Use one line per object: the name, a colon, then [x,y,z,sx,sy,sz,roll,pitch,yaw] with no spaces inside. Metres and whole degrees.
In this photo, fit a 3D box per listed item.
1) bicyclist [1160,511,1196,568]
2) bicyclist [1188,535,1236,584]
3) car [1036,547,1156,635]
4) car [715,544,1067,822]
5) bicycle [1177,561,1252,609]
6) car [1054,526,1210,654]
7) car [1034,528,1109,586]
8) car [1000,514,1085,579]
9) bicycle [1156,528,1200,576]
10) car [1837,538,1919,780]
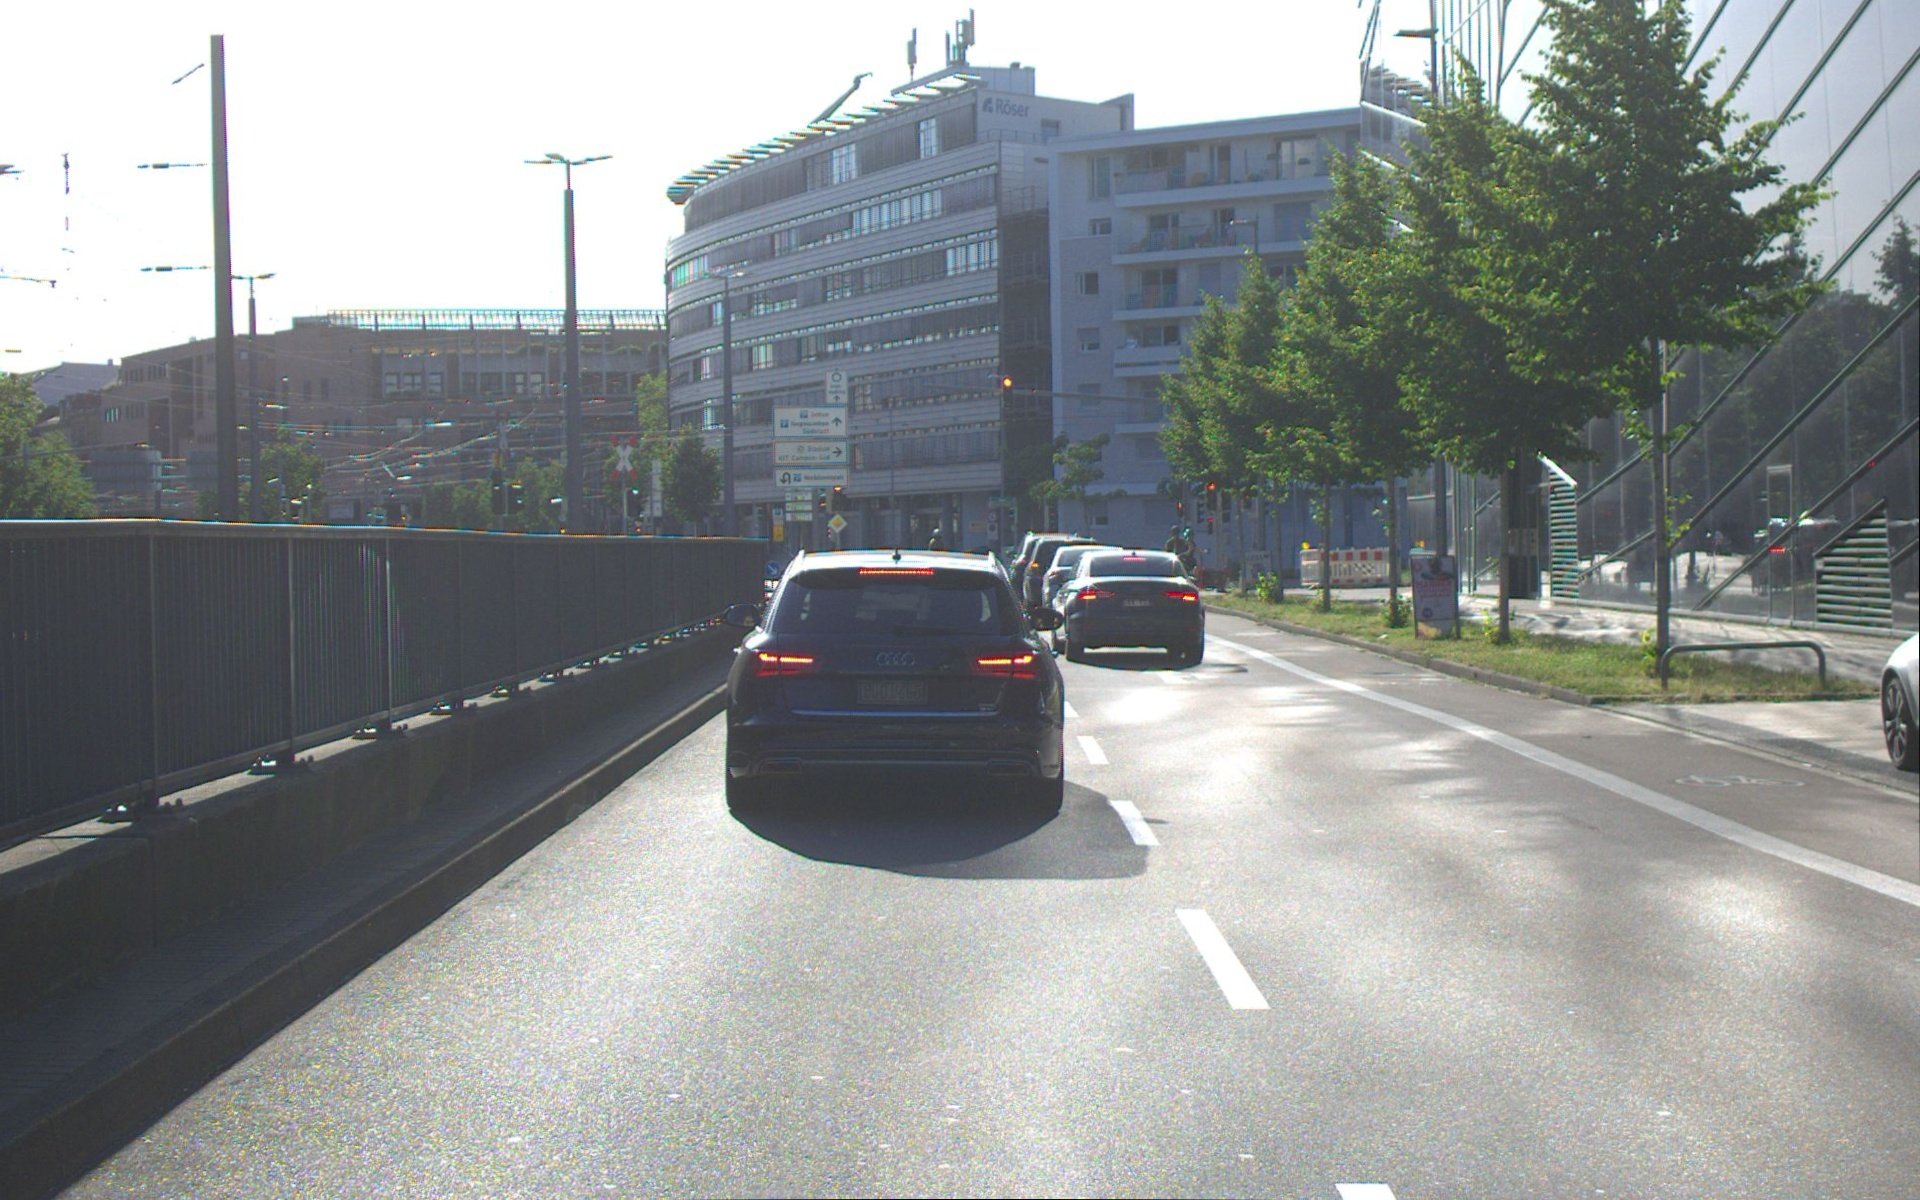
bicyclist: [5.528,-1.544,87.242,0.724,1.413,0.892,-2,1,-7]
bicyclist: [6.708,-1.076,91.429,1.033,1.264,0.726,-3,1,-42]
car: [2.453,-0.195,62.835,1.993,1.460,4.001,0,2,0]
car: [-0.389,0.398,20.219,1.812,1.422,4.690,-1,1,-1]
bicycle: [6.778,-0.401,91.470,2.088,1.180,0.726,-3,1,-42]
car: [2.173,-0.163,44.371,1.853,1.541,4.000,1,1,1]
car: [3.031,-1.183,93.556,1.993,1.460,4.000,0,2,2]
car: [1.990,-1.306,82.514,1.993,1.460,4.000,0,2,2]
bicycle: [5.525,-1.231,87.226,0.724,1.180,2.094,-2,1,-7]
car: [6.904,0.367,20.822,1.852,1.476,4.854,-2,1,-1]
